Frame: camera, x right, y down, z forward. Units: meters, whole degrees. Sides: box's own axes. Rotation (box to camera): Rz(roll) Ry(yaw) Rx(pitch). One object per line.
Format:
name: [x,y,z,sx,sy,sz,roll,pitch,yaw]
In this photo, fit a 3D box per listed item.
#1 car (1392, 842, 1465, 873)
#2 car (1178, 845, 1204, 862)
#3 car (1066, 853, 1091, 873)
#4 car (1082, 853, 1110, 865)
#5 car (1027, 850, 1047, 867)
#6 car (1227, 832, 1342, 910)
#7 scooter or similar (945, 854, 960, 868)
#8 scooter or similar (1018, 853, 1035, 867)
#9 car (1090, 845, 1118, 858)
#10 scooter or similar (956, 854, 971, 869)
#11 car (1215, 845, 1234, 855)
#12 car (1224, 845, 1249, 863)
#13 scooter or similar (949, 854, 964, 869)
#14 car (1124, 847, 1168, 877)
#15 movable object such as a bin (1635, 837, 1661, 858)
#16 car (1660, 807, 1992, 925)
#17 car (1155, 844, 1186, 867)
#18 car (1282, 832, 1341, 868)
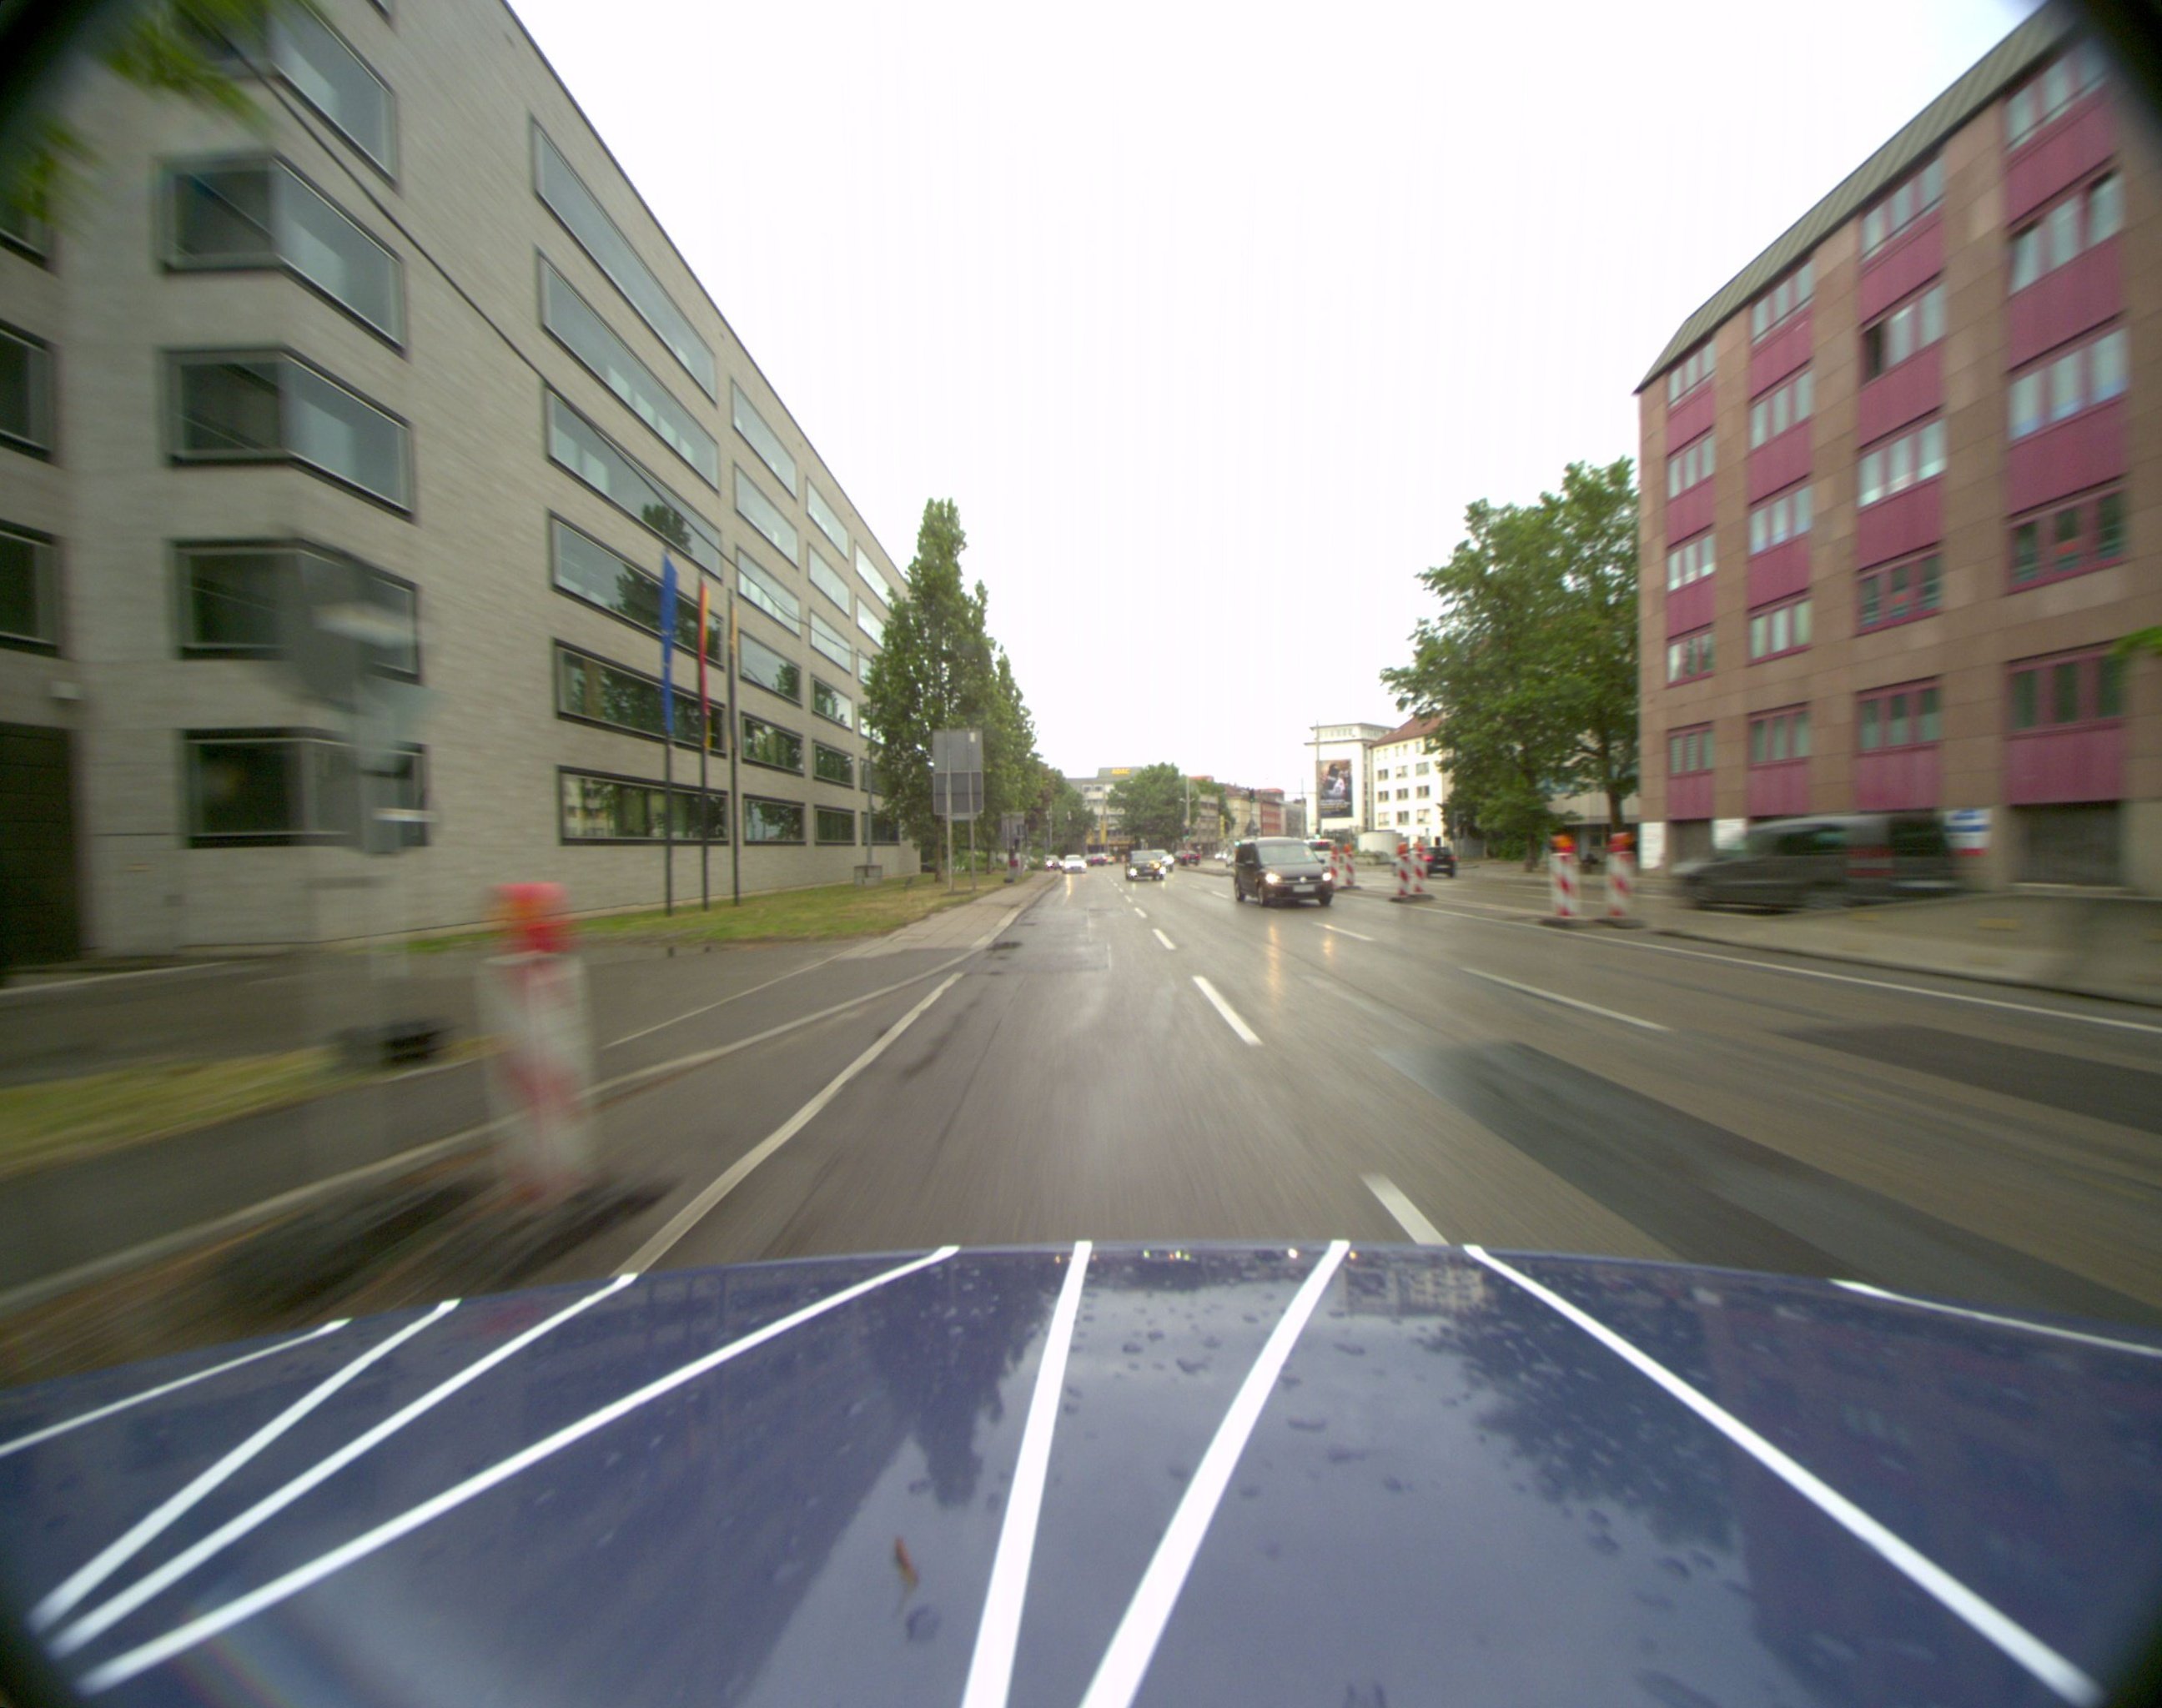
car: [16.623,0.143,36.592,1.703,1.391,4.020,-1,1,0]
car: [11.401,-0.077,78.954,1.999,1.667,4.937,-1,0,0]
car: [-0.181,0.731,62.792,1.847,1.567,4.000,-1,1,2]
car: [1.856,0.568,93.781,2.001,1.430,4.929,-1,0,-18]
car: [-4.140,0.438,71.034,1.848,1.484,3.998,-1,1,-4]
car: [5.265,0.401,20.235,1.795,1.789,4.124,-2,1,-1]
scooter or similar: [-11.498,0.623,67.935,1.240,1.305,0.472,-1,1,-2]
scooter or similar: [-4.738,0.549,66.263,0.687,1.194,1.341,0,1,39]
car: [3.001,-0.299,98.953,1.774,1.672,4.581,-2,1,-25]
scooter or similar: [-10.375,0.647,66.901,1.240,1.305,0.554,-1,1,-2]
car: [23.059,-0.658,122.116,1.995,1.442,4.235,-1,1,24]
car: [13.290,0.023,64.916,1.559,1.476,2.949,-1,0,1]
scooter or similar: [-11.061,0.653,67.417,1.240,1.305,0.472,-1,1,-2]
car: [3.518,0.417,41.733,1.930,1.532,3.999,-1,0,-2]
movable object such as a bin: [27.090,-0.297,36.304,0.872,0.990,0.790,0,2,45]
car: [12.979,0.158,13.742,1.725,1.760,4.425,-1,1,1]
car: [6.418,0.111,54.862,1.847,1.567,4.000,-1,1,2]
car: [13.730,-0.266,45.556,1.998,1.979,5.288,-1,1,1]
